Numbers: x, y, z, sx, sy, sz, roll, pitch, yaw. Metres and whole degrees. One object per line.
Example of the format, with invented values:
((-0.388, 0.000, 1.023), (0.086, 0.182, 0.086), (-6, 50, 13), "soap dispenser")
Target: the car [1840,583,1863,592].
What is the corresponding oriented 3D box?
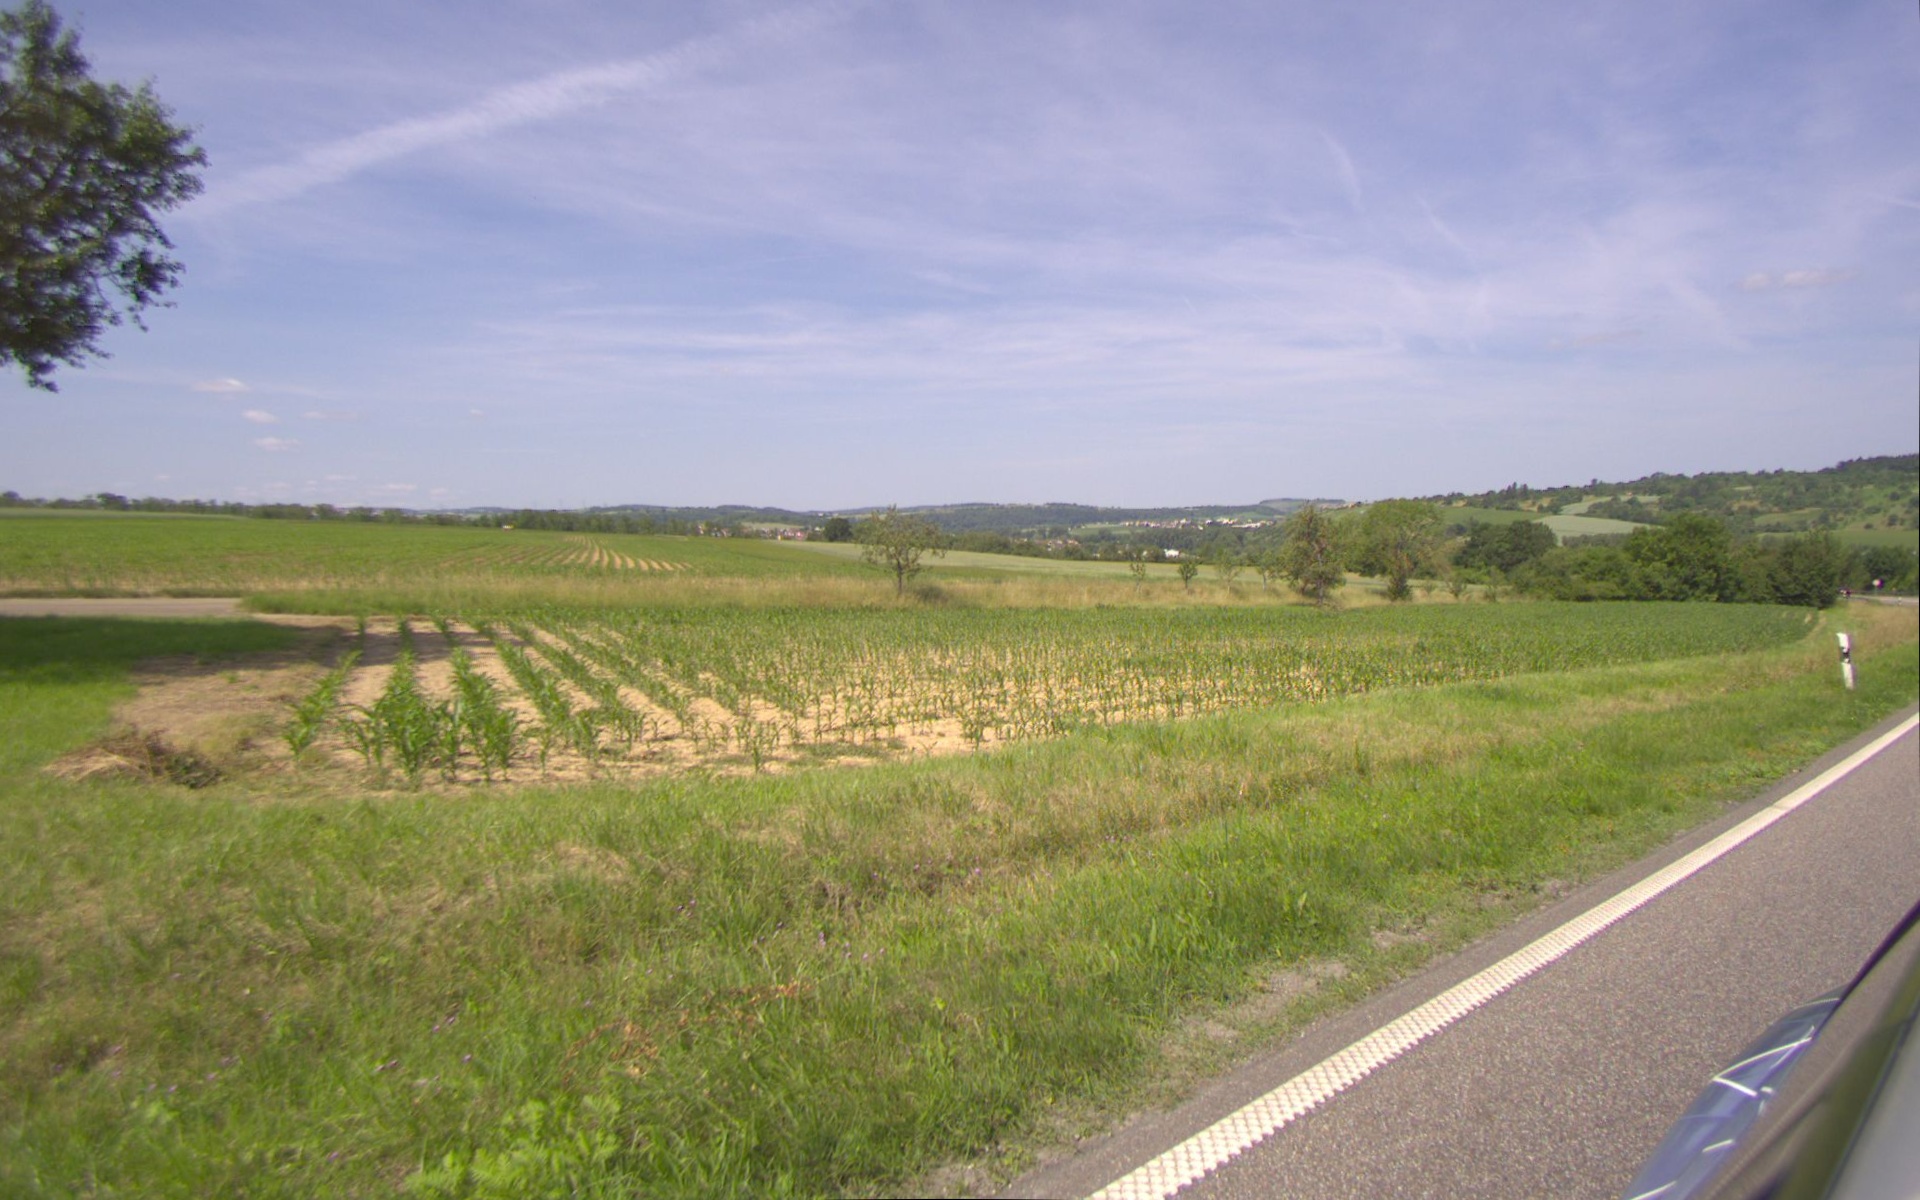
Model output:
((151.462, -2.098, 171.919), (1.823, 1.473, 4.289), (1, 2, 25), "car")
